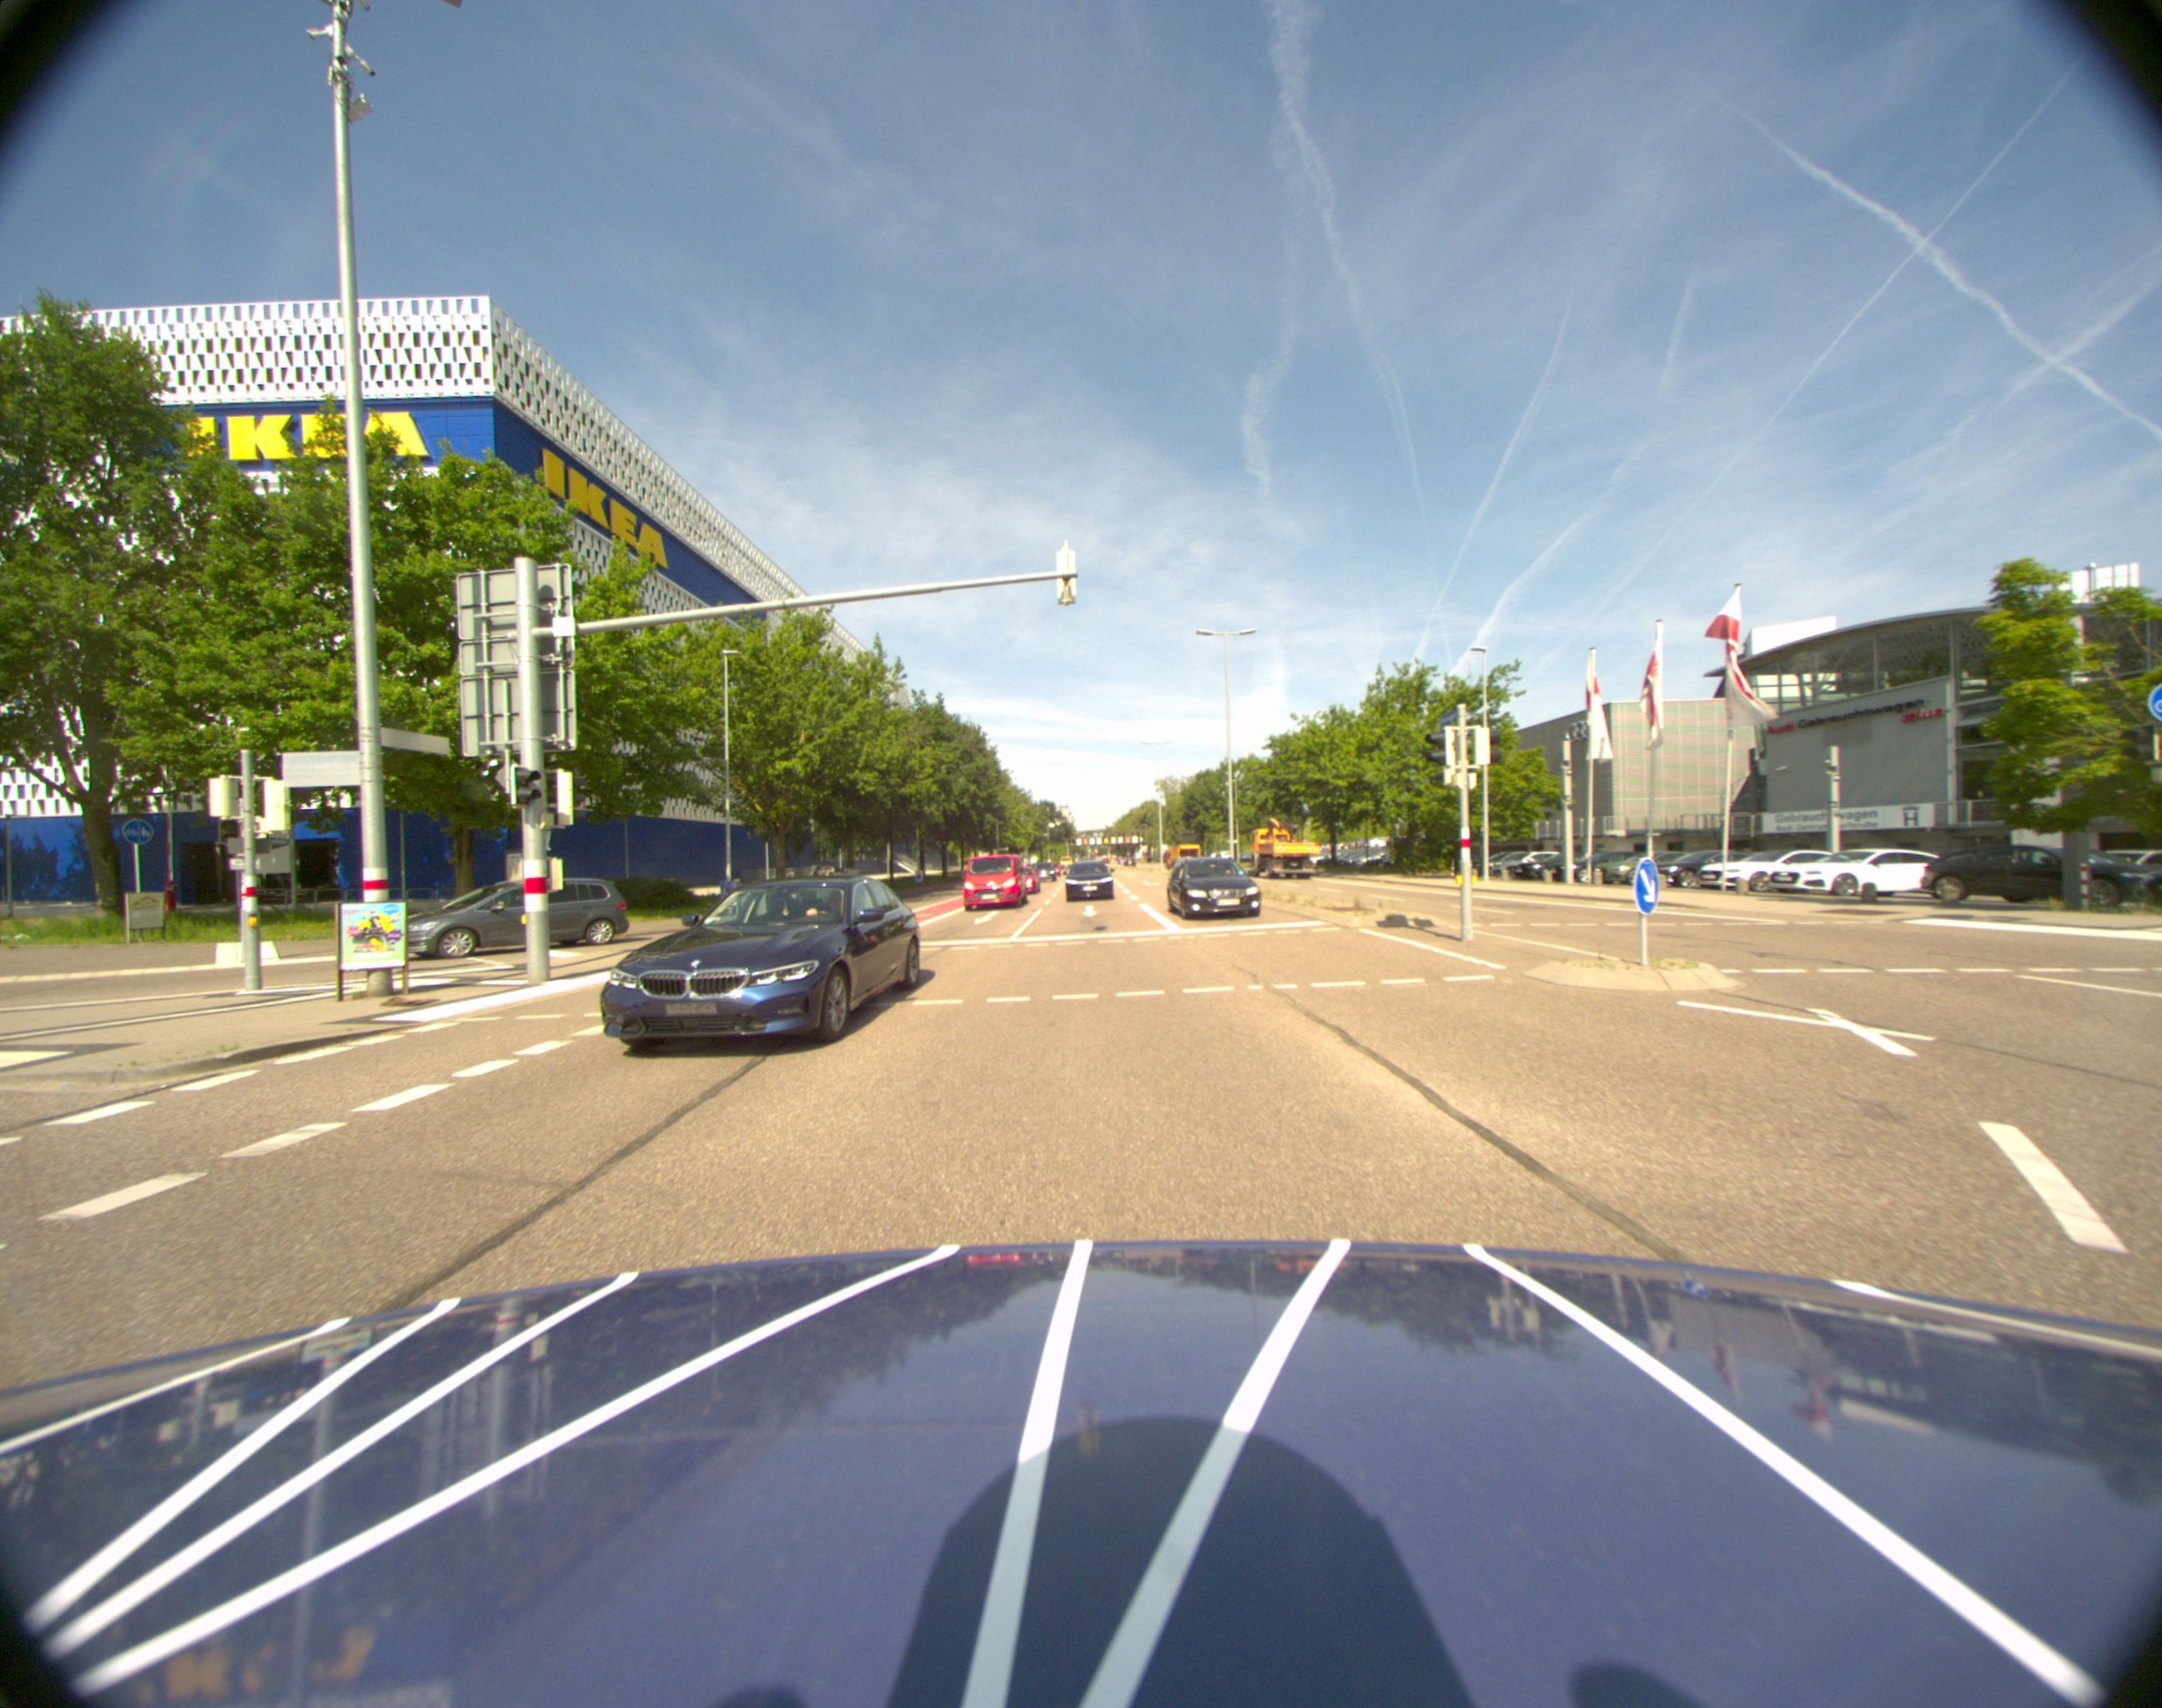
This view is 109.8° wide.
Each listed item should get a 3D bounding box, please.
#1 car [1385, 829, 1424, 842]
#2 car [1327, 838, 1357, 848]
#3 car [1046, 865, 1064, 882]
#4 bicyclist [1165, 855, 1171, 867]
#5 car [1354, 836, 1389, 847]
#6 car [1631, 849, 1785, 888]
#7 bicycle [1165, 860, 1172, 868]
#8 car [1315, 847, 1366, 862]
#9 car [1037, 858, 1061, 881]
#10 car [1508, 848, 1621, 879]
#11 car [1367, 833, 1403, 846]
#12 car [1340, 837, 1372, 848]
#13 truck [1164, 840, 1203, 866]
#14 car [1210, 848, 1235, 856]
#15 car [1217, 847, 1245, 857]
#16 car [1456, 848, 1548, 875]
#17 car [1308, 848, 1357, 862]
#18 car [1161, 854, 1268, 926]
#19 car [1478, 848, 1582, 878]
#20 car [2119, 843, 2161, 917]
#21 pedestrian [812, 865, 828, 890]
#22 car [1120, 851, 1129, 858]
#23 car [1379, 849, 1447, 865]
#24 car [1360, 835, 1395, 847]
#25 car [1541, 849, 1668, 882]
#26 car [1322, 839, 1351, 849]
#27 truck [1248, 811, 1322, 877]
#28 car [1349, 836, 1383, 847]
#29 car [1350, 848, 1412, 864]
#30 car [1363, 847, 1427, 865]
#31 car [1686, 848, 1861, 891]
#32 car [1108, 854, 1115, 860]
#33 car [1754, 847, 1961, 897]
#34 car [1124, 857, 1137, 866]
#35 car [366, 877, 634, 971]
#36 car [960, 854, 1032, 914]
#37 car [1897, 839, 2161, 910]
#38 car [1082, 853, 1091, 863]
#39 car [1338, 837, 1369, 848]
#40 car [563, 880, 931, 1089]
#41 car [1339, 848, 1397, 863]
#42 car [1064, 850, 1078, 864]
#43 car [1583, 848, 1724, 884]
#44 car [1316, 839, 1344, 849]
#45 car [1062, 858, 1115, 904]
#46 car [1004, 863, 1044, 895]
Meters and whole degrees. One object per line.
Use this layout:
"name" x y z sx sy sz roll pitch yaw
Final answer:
"car" 41.335 -2.343 97.105 4.196 1.490 1.690 1 0 2
"car" 41.344 -1.672 120.406 4.196 1.490 1.690 1 0 2
"car" -2.652 1.968 78.020 1.649 1.530 3.999 -5 0 -1
"bicyclist" 11.912 0.959 103.592 0.578 1.587 0.910 -1 1 -7
"car" 40.990 -1.788 107.294 4.196 1.490 1.690 1 0 2
"car" 22.497 0.499 27.382 3.996 1.311 1.838 1 0 2
"bicycle" 11.918 1.332 103.523 0.573 1.143 1.768 -1 0 -7
"car" 24.208 0.065 70.916 4.196 1.291 1.690 1 0 2
"car" -2.461 1.196 59.302 1.649 1.530 3.999 -5 0 -1
"car" 22.788 0.436 35.917 4.121 1.346 1.835 1 0 -1
"car" 40.936 -1.932 102.300 4.196 1.722 1.690 1 0 2
"car" 40.977 -1.735 113.156 4.196 1.490 1.690 1 0 2
"truck" 11.054 -0.066 82.485 2.382 2.609 6.669 -3 0 -7
"car" 24.690 -0.377 132.779 4.196 1.371 1.690 1 0 2
"car" 24.667 -0.325 124.993 4.196 1.490 1.690 1 0 2
"car" 22.852 0.412 41.341 4.034 1.394 1.809 1 0 0
"car" 24.295 0.097 73.604 4.196 1.248 1.690 1 0 2
"car" 3.242 0.804 19.477 1.882 1.513 4.869 -4 0 1
"car" 22.754 0.440 38.625 4.226 1.387 1.802 1 0 0
"car" 22.473 0.462 14.183 3.844 1.394 1.764 -1 0 -1
"pedestrian" -16.555 1.468 48.147 0.680 1.537 0.780 -2 1 1
"car" 8.944 0.080 156.047 1.732 1.430 3.870 0 0 1
"car" 24.115 0.207 55.248 4.196 1.116 1.719 1 0 2
"car" 40.973 -1.795 104.960 4.196 1.490 1.690 1 0 2
"car" 22.813 0.471 33.212 4.291 1.346 1.830 1 0 -1
"car" 41.346 -1.624 122.996 4.196 1.490 1.690 1 0 2
"truck" 12.275 -0.559 46.459 2.753 3.659 7.580 -1 0 2
"car" 41.102 -1.758 109.583 4.196 1.490 1.690 1 0 2
"car" 23.891 0.132 60.606 4.196 1.188 1.690 1 0 2
"car" 23.962 0.149 58.108 4.196 1.239 1.690 1 0 2
"car" 22.595 0.492 24.918 3.997 1.311 1.868 1 0 1
"car" 8.166 0.732 202.927 1.866 1.503 4.001 -1 0 3
"car" 22.546 0.500 22.182 4.082 1.362 1.878 1 0 0
"car" 8.467 1.234 129.176 1.851 1.451 4.663 0 0 -1
"car" -13.060 1.461 17.388 1.994 1.646 4.399 -1 1 33
"car" -3.050 1.024 28.271 2.014 1.896 4.809 -4 0 0
"car" 23.153 0.422 18.518 1.802 1.487 4.425 -2 0 1
"car" 1.239 0.886 176.916 1.998 2.002 3.999 -4 1 0
"car" 41.366 -1.726 115.442 4.196 1.490 1.690 1 0 2
"car" -2.958 1.058 7.971 1.800 1.420 4.538 -2 -1 0
"car" 23.805 0.121 63.062 4.196 1.198 1.690 1 0 2
"car" -1.603 0.423 122.597 1.998 2.002 3.999 -4 1 0
"car" 22.707 0.462 30.237 4.185 1.327 1.854 1 0 0
"car" 41.132 -1.617 125.542 4.196 1.490 1.690 1 0 2
"car" 0.354 1.009 30.238 1.847 1.530 4.000 -5 0 3
"car" -2.883 1.252 39.146 1.692 1.414 3.915 -3 0 0
